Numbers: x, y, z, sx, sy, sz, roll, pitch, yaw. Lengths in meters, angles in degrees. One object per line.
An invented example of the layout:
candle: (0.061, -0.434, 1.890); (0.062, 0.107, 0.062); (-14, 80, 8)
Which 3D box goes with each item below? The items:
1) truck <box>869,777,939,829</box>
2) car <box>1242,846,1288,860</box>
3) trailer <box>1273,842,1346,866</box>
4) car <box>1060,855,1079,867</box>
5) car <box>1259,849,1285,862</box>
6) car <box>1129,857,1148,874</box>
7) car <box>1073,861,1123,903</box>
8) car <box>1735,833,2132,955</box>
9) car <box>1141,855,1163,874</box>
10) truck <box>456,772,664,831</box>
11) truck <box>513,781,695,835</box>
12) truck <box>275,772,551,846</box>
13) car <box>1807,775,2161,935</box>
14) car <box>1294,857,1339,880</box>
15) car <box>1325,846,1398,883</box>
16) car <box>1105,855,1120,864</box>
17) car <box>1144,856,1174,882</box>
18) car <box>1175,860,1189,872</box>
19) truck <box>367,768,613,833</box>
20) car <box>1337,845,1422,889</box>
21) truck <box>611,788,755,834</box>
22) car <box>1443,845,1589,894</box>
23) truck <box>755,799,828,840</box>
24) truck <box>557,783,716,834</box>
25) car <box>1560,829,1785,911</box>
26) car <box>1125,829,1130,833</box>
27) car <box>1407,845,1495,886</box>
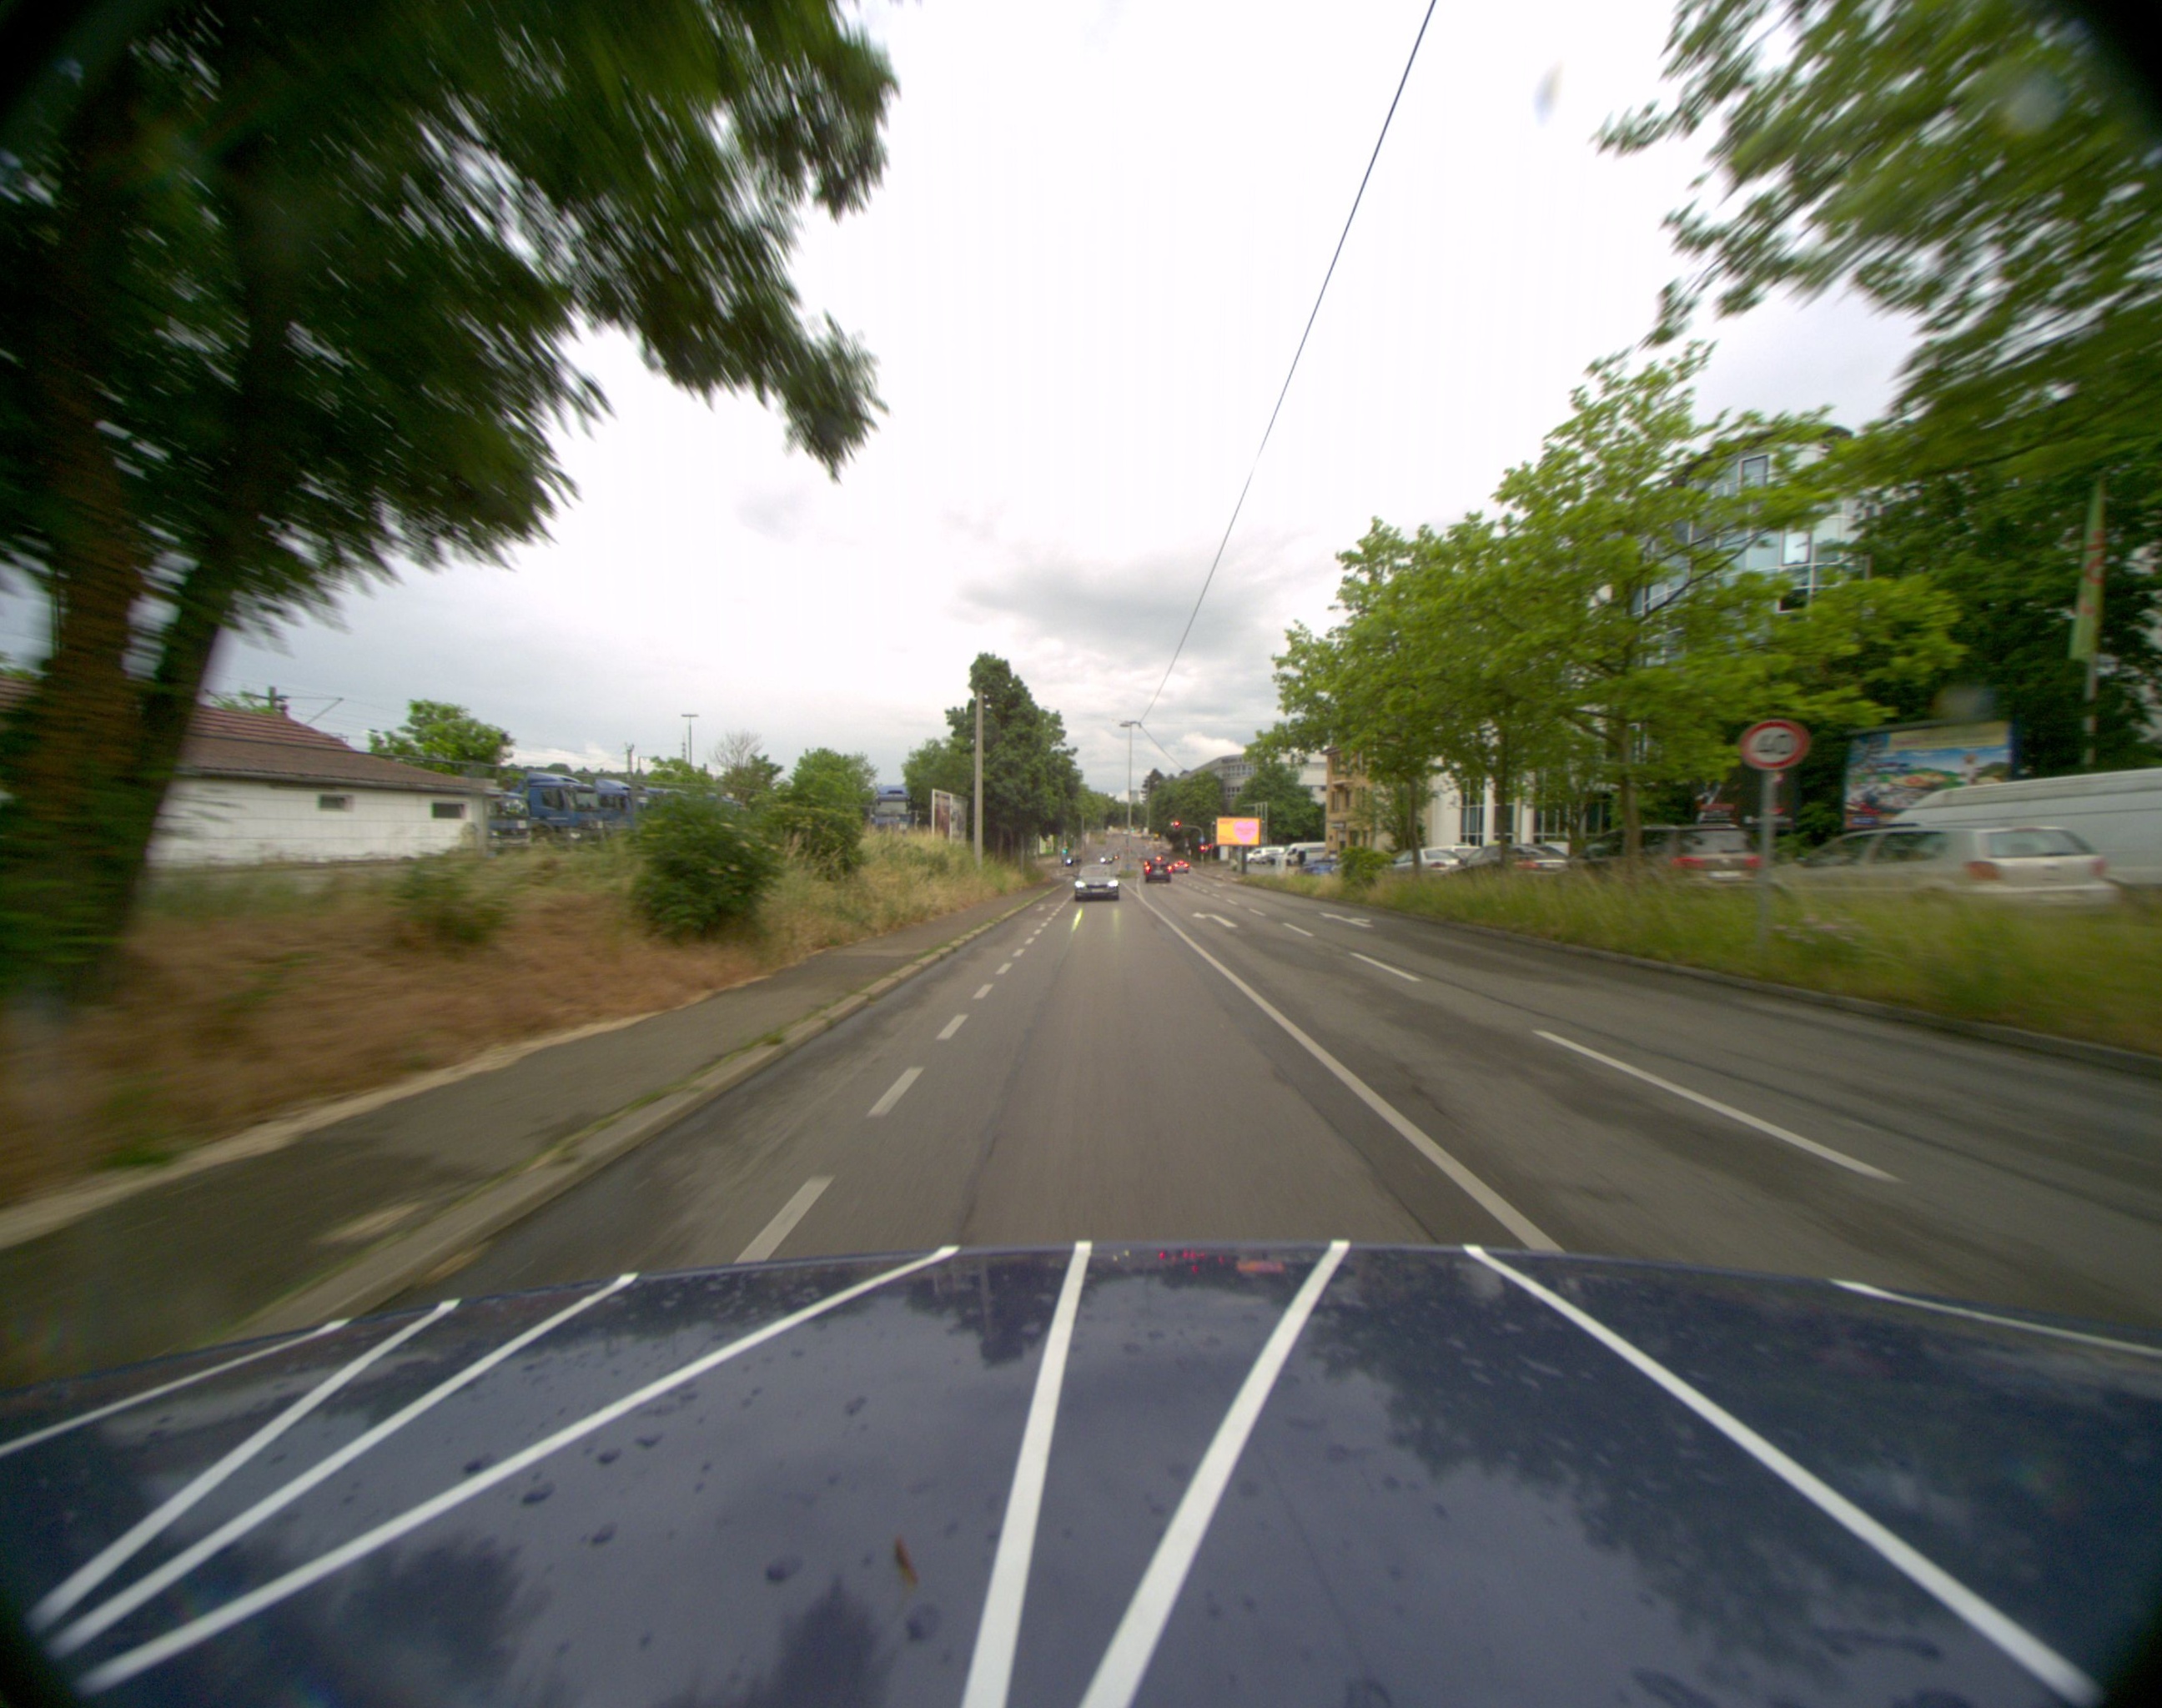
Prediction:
truck: (-10.263, -2.900, 44.672); (2.290, 2.635, 6.051); (-5, 2, 2)
car: (24.064, -0.134, 99.328); (5.371, 1.792, 2.218); (0, 2, -5)
trailer: (24.718, -0.023, 82.290); (7.114, 2.415, 2.394); (0, 2, 1)
car: (-1.812, 1.101, 121.122); (1.950, 1.535, 4.214); (-2, 2, 15)
car: (22.420, 0.212, 89.090); (2.684, 1.416, 1.227); (-2, 1, 2)
car: (6.151, 1.218, 81.297); (1.810, 1.522, 4.441); (1, 2, 2)
car: (0.693, 1.089, 30.723); (1.810, 1.509, 4.053); (-2, 0, 1)
car: (11.459, 0.420, 10.654); (1.364, 1.387, 3.706); (0, 2, 0)
car: (6.732, 0.979, 72.683); (1.959, 1.687, 4.626); (1, 0, 3)
truck: (-24.845, -2.465, 36.521); (8.112, 2.640, 2.586); (0, 2, -1)
truck: (-25.291, -2.423, 40.553); (8.026, 2.723, 2.586); (0, 2, -1)
truck: (-25.180, -1.680, 28.933); (8.021, 2.603, 2.630); (0, 2, -1)
car: (17.296, 0.081, 14.160); (1.968, 2.428, 5.655); (1, -1, -2)
car: (16.138, 1.013, 52.290); (1.692, 1.525, 4.672); (1, -1, 0)
car: (12.222, 0.480, 33.414); (1.651, 1.469, 4.444); (1, -1, 1)
car: (5.188, 0.922, 125.101); (1.595, 1.253, 3.759); (-2, 2, 15)
car: (5.908, 1.089, 58.112); (2.019, 1.856, 5.042); (1, 0, 2)
car: (11.731, 1.368, 88.581); (1.380, 1.216, 2.452); (0, 2, 1)
truck: (-24.905, -2.221, 32.298); (8.319, 2.602, 2.586); (0, 2, -1)
car: (11.142, 0.486, 28.632); (1.596, 1.531, 3.992); (1, -1, 0)
truck: (-25.269, -2.712, 48.465); (7.757, 2.799, 2.586); (0, 2, -1)
car: (11.764, 0.410, 20.919); (1.701, 1.198, 4.219); (0, 0, 2)
truck: (-24.811, -2.928, 65.767); (2.256, 3.178, 9.639); (-1, 2, 2)
truck: (-25.913, -2.641, 44.533); (7.730, 2.840, 2.586); (0, 2, -1)
car: (11.608, 0.233, 15.273); (1.657, 1.444, 3.644); (0, 2, 0)
car: (15.587, -7.598, 254.065); (1.532, 1.307, 3.231); (1, 2, 6)
car: (16.826, 0.533, 34.837); (1.775, 1.735, 4.584); (1, -1, 0)
